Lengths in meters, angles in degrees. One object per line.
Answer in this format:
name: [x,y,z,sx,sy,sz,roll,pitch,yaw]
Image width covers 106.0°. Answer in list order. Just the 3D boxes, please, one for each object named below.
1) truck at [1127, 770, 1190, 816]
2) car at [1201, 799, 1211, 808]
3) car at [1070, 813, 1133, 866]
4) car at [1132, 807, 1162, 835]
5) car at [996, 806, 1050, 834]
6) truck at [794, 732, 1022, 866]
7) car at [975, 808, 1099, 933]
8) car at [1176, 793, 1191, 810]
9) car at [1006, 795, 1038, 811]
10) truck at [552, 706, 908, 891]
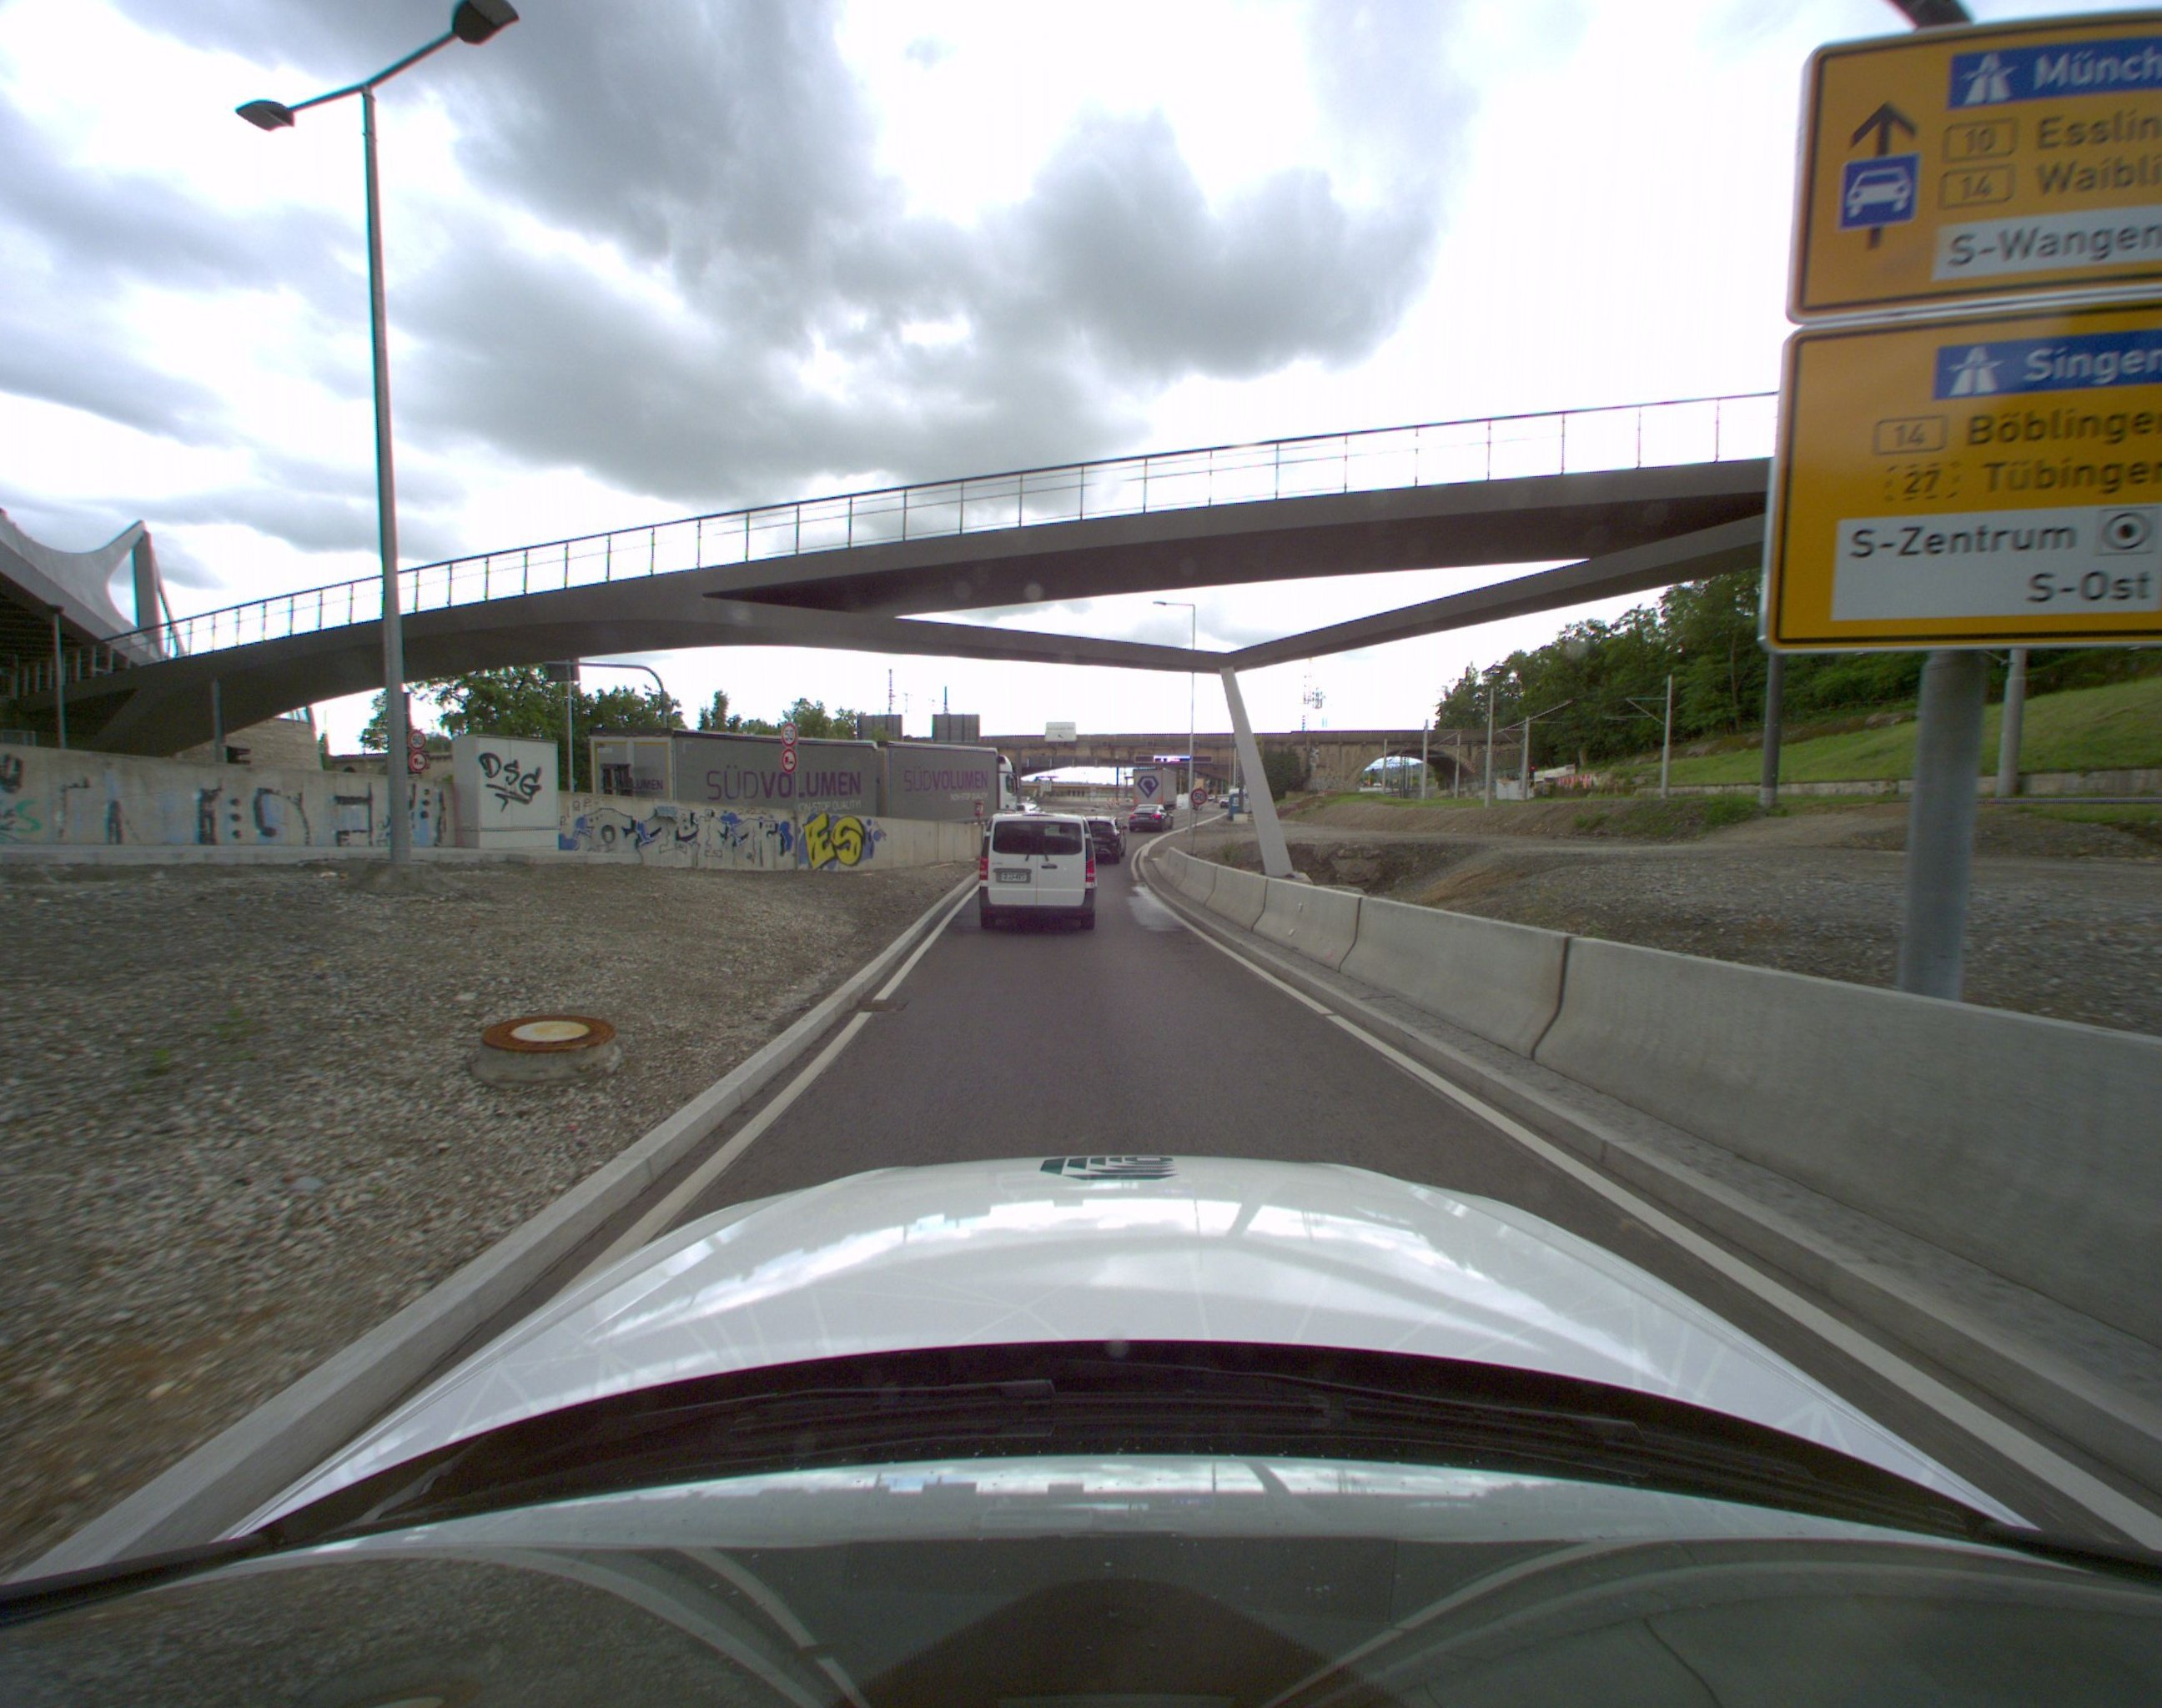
truck: [7.608,-5.751,77.045,3.293,3.807,16.663,3,5,14]
car: [23.803,-9.561,155.366,1.615,1.584,4.008,3,2,6]
car: [0.808,-0.575,29.263,1.740,1.624,3.855,3,4,8]
car: [3.601,-1.784,44.266,1.493,1.468,3.406,1,2,7]
car: [-3.463,-2.036,49.349,1.979,1.551,4.017,2,2,16]
truck: [-5.941,-2.250,31.164,2.963,4.173,11.302,3,6,20]
car: [-0.699,0.171,14.747,1.871,1.890,4.752,0,2,-1]
car: [14.620,-7.503,116.461,1.887,2.115,4.497,3,2,9]
car: [-5.838,-5.085,81.051,1.806,1.452,4.017,2,2,16]
truck: [-8.946,-1.586,22.992,2.894,4.014,10.256,3,5,20]
